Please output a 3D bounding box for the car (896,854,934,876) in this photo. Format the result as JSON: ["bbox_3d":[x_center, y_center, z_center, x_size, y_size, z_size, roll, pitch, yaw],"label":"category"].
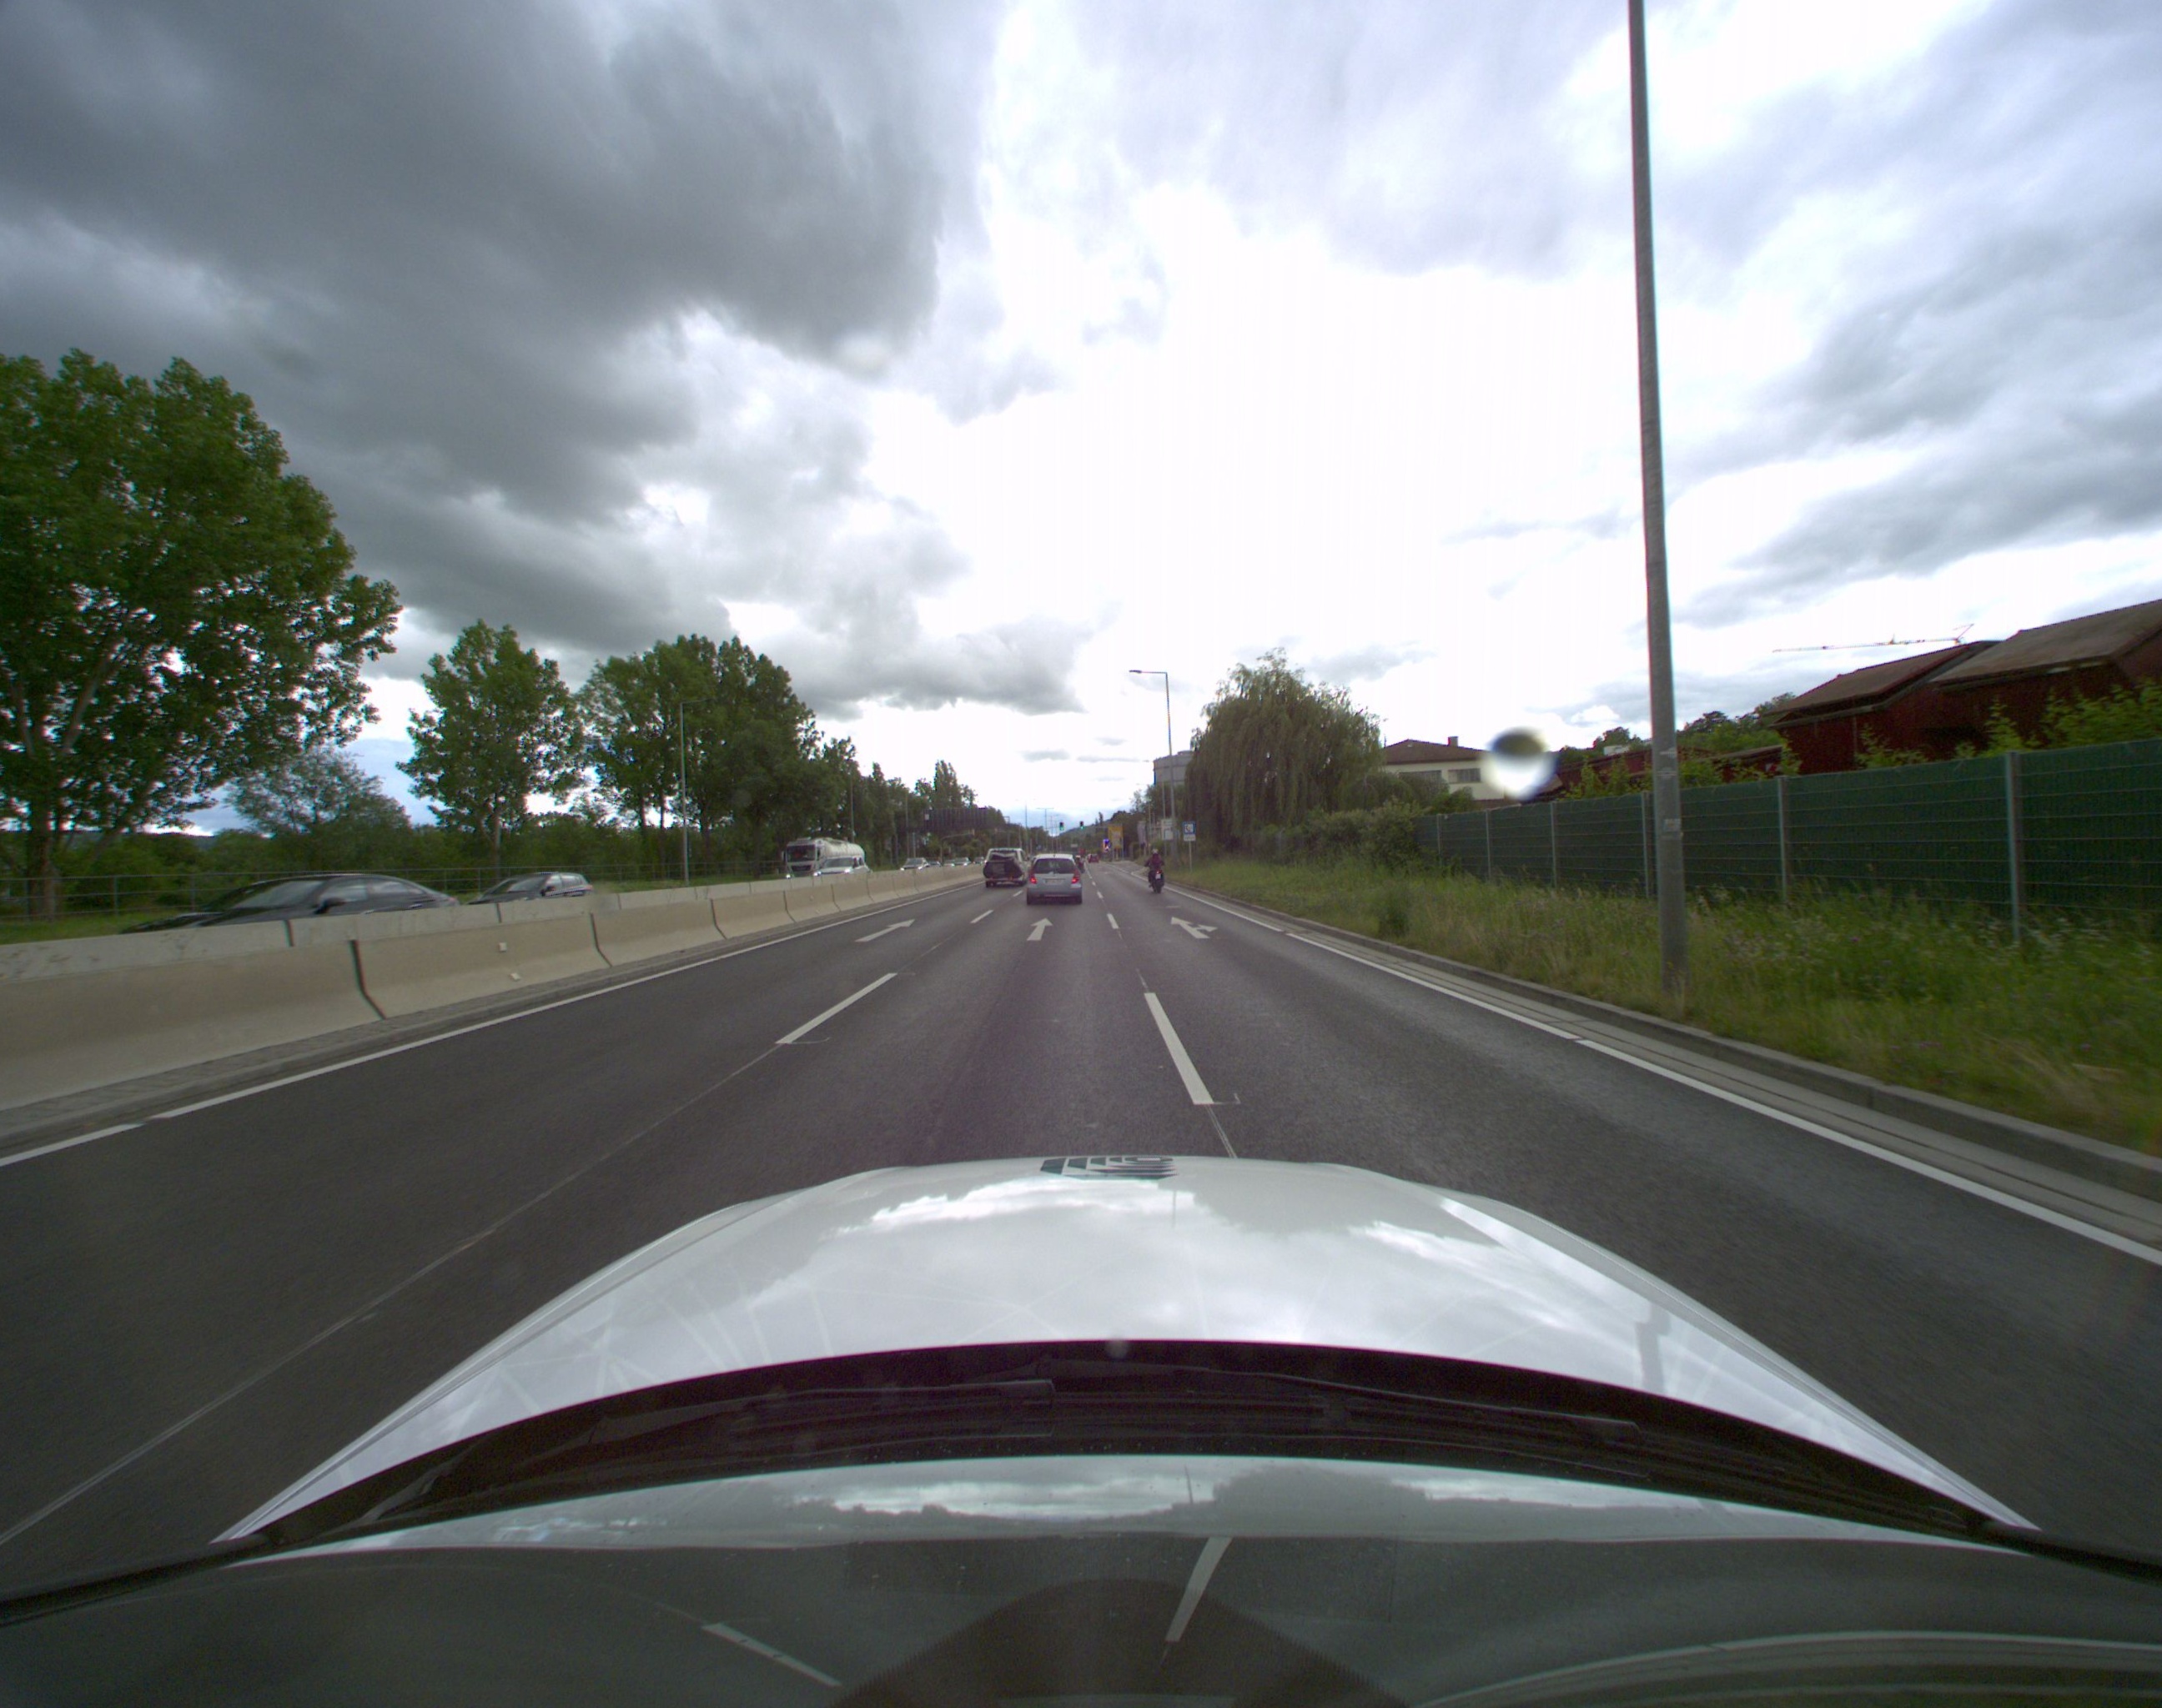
[{"bbox_3d":[-13.073,0.834,64.504,1.987,1.618,4.697,0,0,0],"label":"car"}]

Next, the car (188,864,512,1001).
[{"bbox_3d":[-11.888,1.151,13.693,1.810,1.904,4.000,0,0,0],"label":"car"}]

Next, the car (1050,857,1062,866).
[{"bbox_3d":[-4.527,1.326,147.815,1.988,1.552,3.998,0,0,-1],"label":"car"}]

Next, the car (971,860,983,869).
[{"bbox_3d":[-20.478,2.046,161.039,1.872,1.683,3.927,0,0,0],"label":"car"}]

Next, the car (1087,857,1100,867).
[{"bbox_3d":[2.151,1.340,139.095,1.988,1.552,3.998,0,0,-1],"label":"car"}]

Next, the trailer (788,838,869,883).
[{"bbox_3d":[-19.487,0.461,63.769,3.093,3.220,11.658,0,0,-2],"label":"trailer"}]

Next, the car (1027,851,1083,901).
[{"bbox_3d":[-0.805,0.671,26.863,1.705,1.530,3.999,0,0,0],"label":"car"}]

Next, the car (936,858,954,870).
[{"bbox_3d":[-20.338,1.455,122.267,1.987,1.739,4.000,0,0,0],"label":"car"}]

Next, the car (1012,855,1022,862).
[{"bbox_3d":[-14.365,1.010,182.692,1.872,1.683,4.125,0,0,0],"label":"car"}]

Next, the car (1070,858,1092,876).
[{"bbox_3d":[0.021,1.048,68.664,1.834,1.464,3.999,0,0,0],"label":"car"}]

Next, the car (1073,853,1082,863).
[{"bbox_3d":[-0.708,0.870,181.541,1.987,2.013,4.000,0,0,0],"label":"car"}]

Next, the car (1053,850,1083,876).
[{"bbox_3d":[-0.846,0.582,54.192,1.901,1.684,4.000,0,0,0],"label":"car"}]

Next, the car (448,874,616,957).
[{"bbox_3d":[-15.270,1.637,22.949,1.987,2.013,3.999,0,0,0],"label":"car"}]

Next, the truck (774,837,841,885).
[{"bbox_3d":[-19.266,0.463,57.748,3.090,3.219,5.387,0,0,-2],"label":"truck"}]

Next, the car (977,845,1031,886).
[{"bbox_3d":[-3.758,0.543,40.501,2.208,1.925,5.001,0,0,0],"label":"car"}]

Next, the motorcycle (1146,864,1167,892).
[{"bbox_3d":[2.938,0.922,31.808,0.704,1.040,2.028,0,0,2],"label":"motorcycle"}]

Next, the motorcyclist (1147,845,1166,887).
[{"bbox_3d":[2.936,0.470,31.868,0.682,1.610,0.845,0,0,1],"label":"motorcyclist"}]

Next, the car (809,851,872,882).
[{"bbox_3d":[-12.949,0.640,44.166,1.987,1.618,4.697,0,0,0],"label":"car"}]

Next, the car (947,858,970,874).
[{"bbox_3d":[-13.905,1.374,92.762,1.987,1.739,4.000,0,0,0],"label":"car"}]
